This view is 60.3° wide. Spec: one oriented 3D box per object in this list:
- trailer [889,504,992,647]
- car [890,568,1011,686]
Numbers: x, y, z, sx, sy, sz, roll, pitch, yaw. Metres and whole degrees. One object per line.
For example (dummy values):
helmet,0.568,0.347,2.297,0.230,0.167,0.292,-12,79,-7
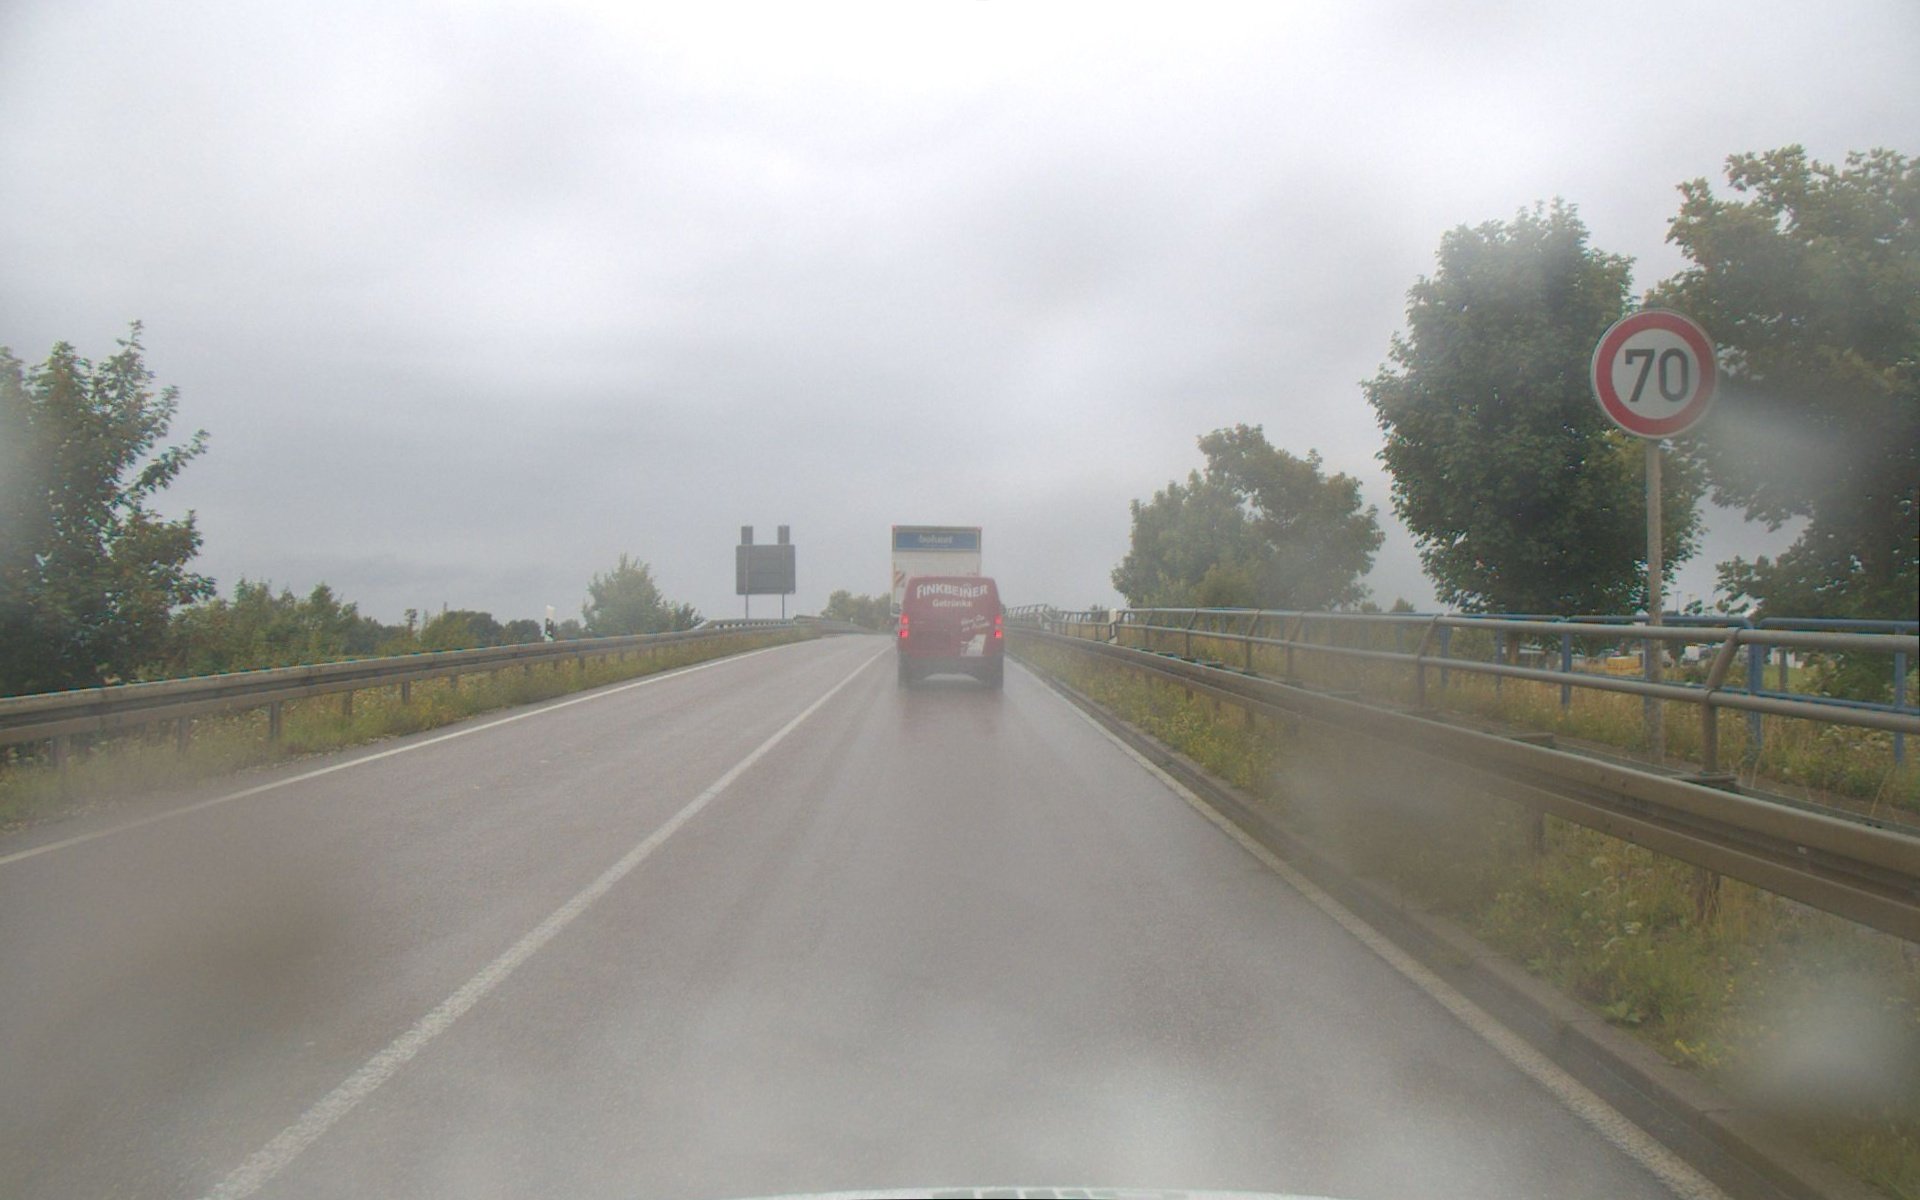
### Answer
trailer,-0.452,-0.607,50.462,2.773,3.886,9.715,-1,-1,1
car,-0.126,0.456,29.853,1.952,1.903,4.979,-1,0,1
